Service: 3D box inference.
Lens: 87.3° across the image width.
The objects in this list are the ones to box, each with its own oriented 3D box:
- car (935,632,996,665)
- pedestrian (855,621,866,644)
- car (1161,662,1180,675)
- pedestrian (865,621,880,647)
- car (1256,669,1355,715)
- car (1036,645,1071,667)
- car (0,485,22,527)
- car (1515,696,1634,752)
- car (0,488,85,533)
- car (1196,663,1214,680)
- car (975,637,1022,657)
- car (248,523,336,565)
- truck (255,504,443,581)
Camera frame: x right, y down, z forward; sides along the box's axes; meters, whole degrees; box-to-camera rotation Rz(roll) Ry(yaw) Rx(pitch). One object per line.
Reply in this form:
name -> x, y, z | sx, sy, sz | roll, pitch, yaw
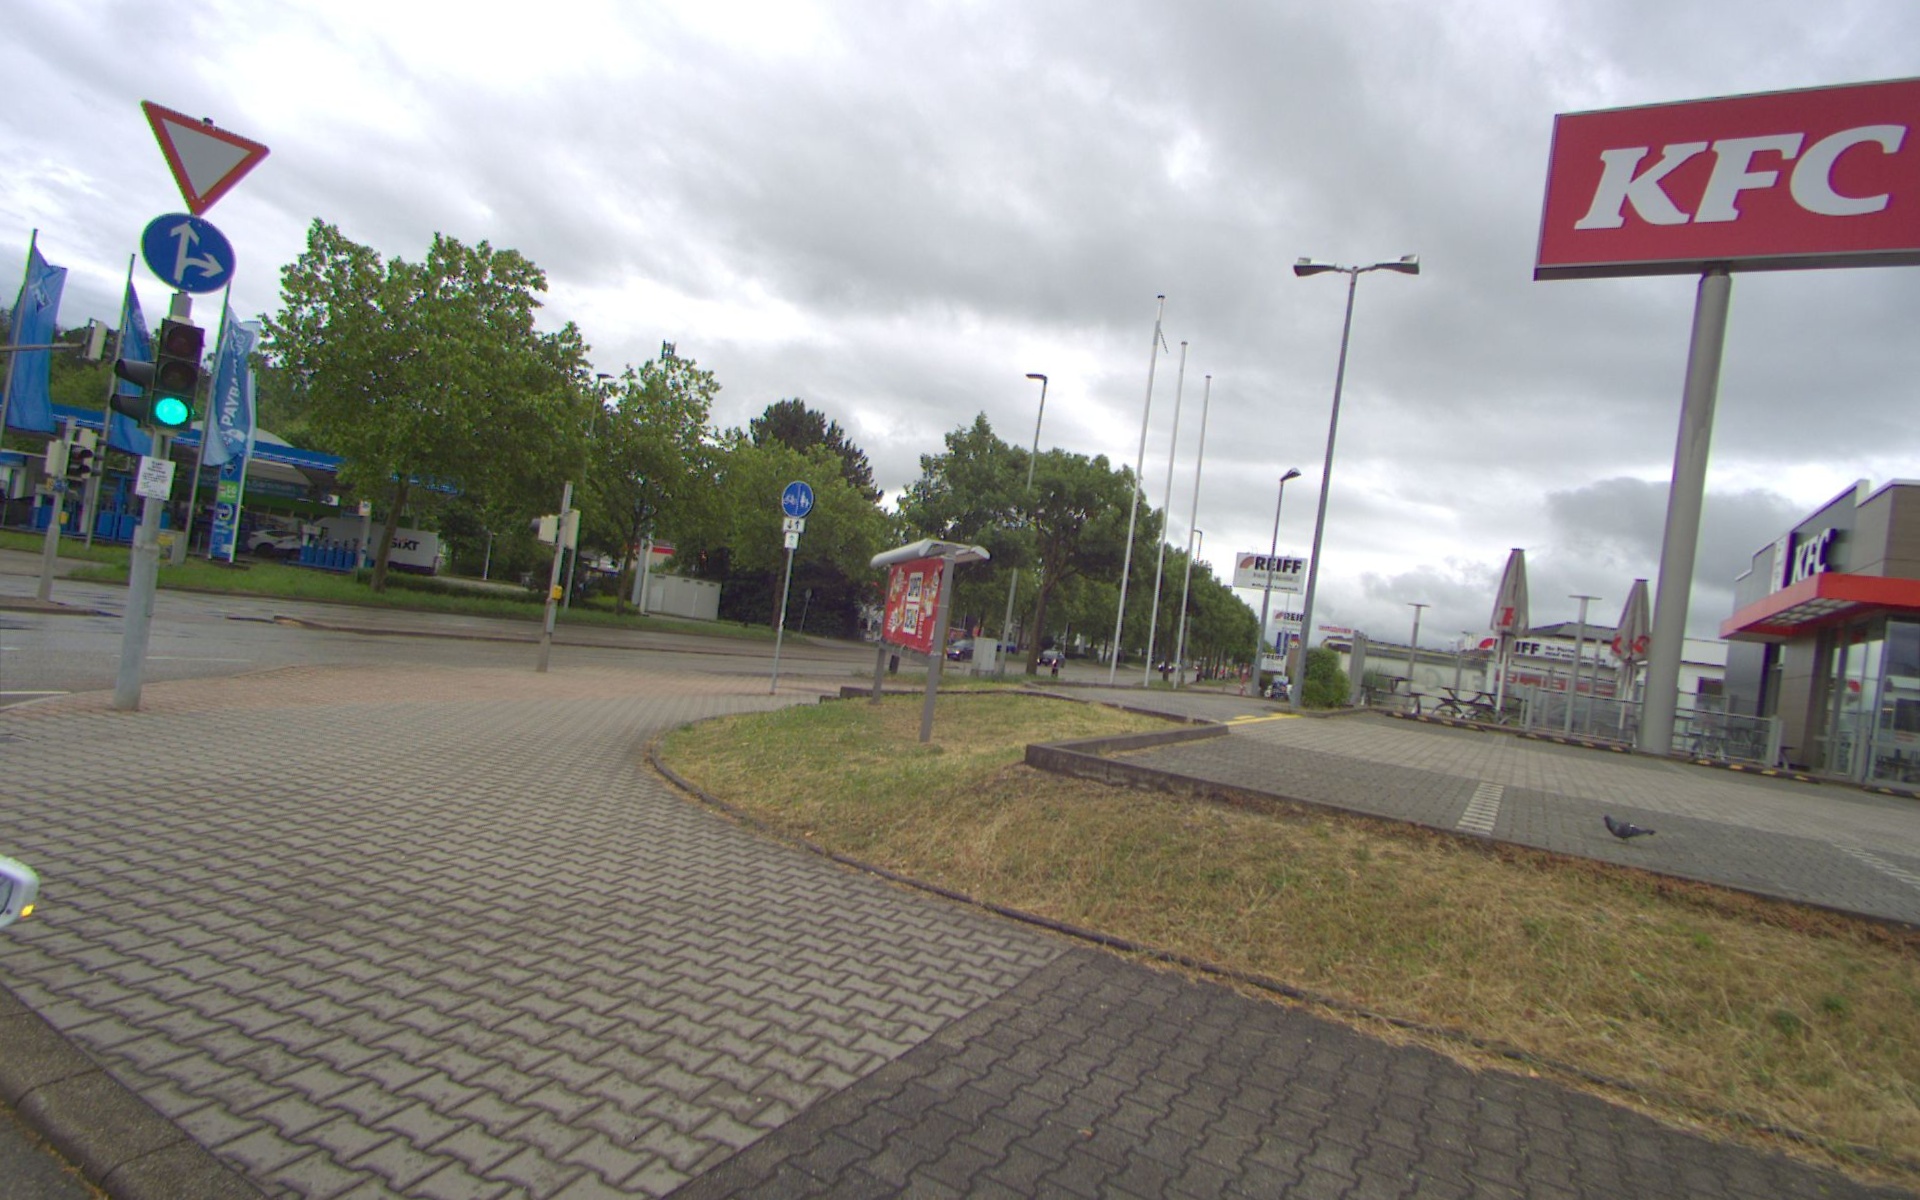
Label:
car -> 0.409, 3.194, 65.506 | 1.965, 1.523, 4.736 | 6, -5, 26
pedestrian -> -7.438, 2.427, 75.133 | 0.504, 1.703, 0.540 | 6, -1, 21
car -> 31.159, 10.174, 148.789 | 1.784, 1.579, 4.602 | 6, -3, 21
pedestrian -> -6.519, 2.538, 75.233 | 0.657, 1.788, 0.580 | 8, 0, 42
car -> 16.401, 4.347, 47.776 | 4.116, 1.570, 1.888 | 6, -2, 28
car -> 7.977, 4.792, 85.511 | 1.619, 1.526, 3.893 | 6, -2, 24
car -> -46.734, -4.713, 46.711 | 4.082, 1.828, 1.933 | 9, -2, -28
car -> 25.264, 5.067, 41.525 | 3.931, 1.699, 1.956 | 6, -2, 28
car -> -47.993, -4.658, 51.867 | 3.958, 1.748, 1.781 | 8, -2, -31
car -> 33.304, 9.743, 136.802 | 1.718, 2.037, 4.003 | 7, -2, 19
car -> 4.201, 5.100, 109.481 | 4.640, 1.525, 2.004 | 6, -3, 13
car -> -35.556, -2.953, 53.642 | 3.523, 1.599, 1.679 | 10, -2, -27
truck -> -30.778, -2.853, 50.988 | 7.796, 2.708, 2.136 | 7, 1, -33
